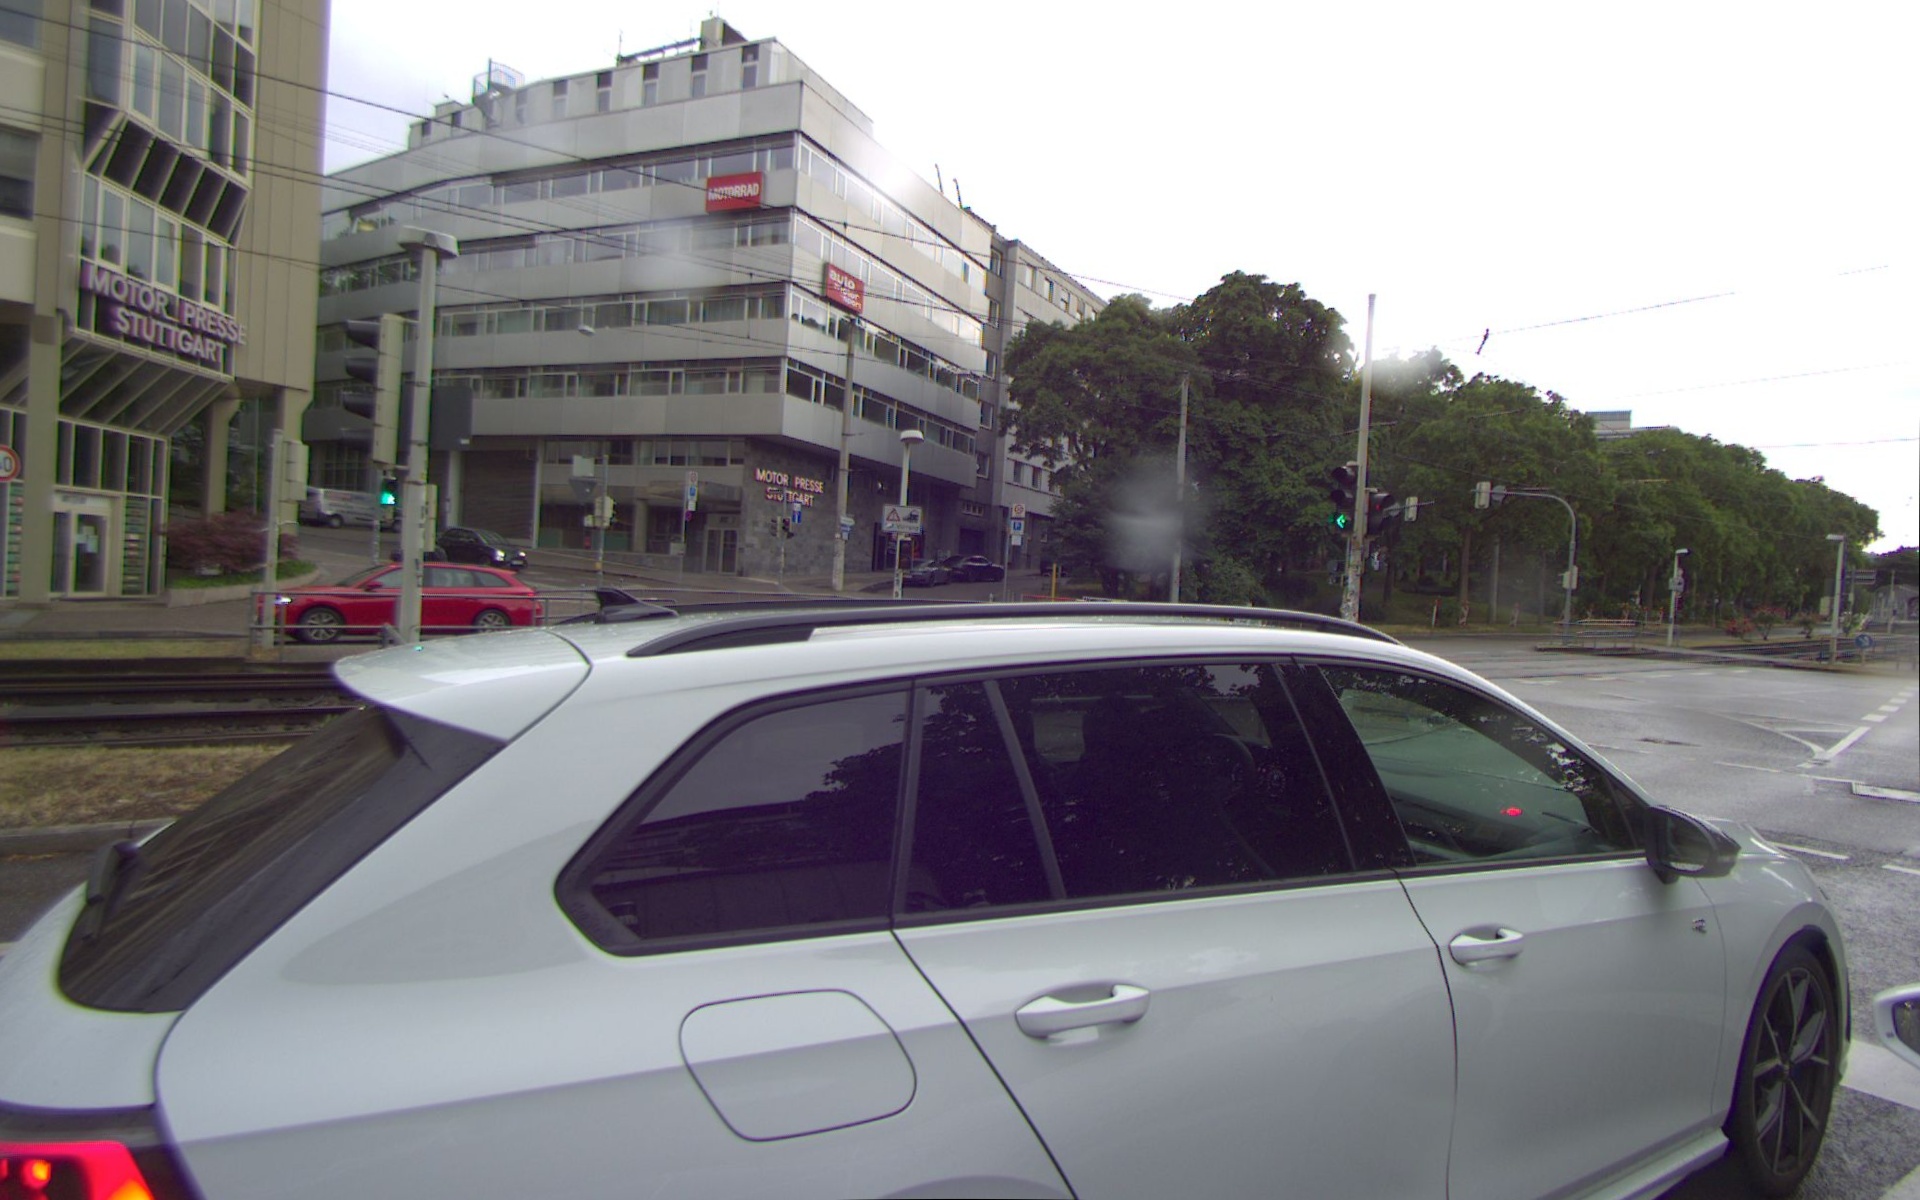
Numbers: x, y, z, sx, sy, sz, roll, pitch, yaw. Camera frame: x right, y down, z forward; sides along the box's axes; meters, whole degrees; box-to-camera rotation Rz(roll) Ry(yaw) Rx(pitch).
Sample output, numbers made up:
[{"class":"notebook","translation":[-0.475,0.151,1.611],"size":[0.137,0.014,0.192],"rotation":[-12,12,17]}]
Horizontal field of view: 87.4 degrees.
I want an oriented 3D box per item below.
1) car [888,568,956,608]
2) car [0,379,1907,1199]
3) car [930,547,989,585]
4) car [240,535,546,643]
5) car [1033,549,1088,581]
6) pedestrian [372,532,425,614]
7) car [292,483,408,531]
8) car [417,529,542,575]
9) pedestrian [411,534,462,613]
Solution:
[{"class":"car","translation":[-1.867,-0.614,50.885],"size":[1.961,1.818,4.000],"rotation":[5,2,19]},{"class":"car","translation":[0.315,0.646,2.381],"size":[4.203,1.597,1.670],"rotation":[1,1,-31]},{"class":"car","translation":[0.036,-1.924,55.746],"size":[1.961,1.818,3.998],"rotation":[5,5,19]},{"class":"car","translation":[-10.046,-0.163,18.031],"size":[1.959,1.662,4.391],"rotation":[5,2,44]},{"class":"car","translation":[6.630,-2.270,66.031],"size":[1.964,1.818,4.202],"rotation":[5,2,30]},{"class":"pedestrian","translation":[-12.864,-0.621,23.027],"size":[0.630,1.811,0.808],"rotation":[6,3,36]},{"class":"car","translation":[-31.935,-4.847,52.724],"size":[1.963,2.040,4.831],"rotation":[5,2,26]},{"class":"car","translation":[-17.825,-1.760,37.330],"size":[3.920,1.383,1.830],"rotation":[5,2,16]},{"class":"pedestrian","translation":[-12.443,-0.613,23.876],"size":[0.630,1.811,0.808],"rotation":[6,3,36]}]
